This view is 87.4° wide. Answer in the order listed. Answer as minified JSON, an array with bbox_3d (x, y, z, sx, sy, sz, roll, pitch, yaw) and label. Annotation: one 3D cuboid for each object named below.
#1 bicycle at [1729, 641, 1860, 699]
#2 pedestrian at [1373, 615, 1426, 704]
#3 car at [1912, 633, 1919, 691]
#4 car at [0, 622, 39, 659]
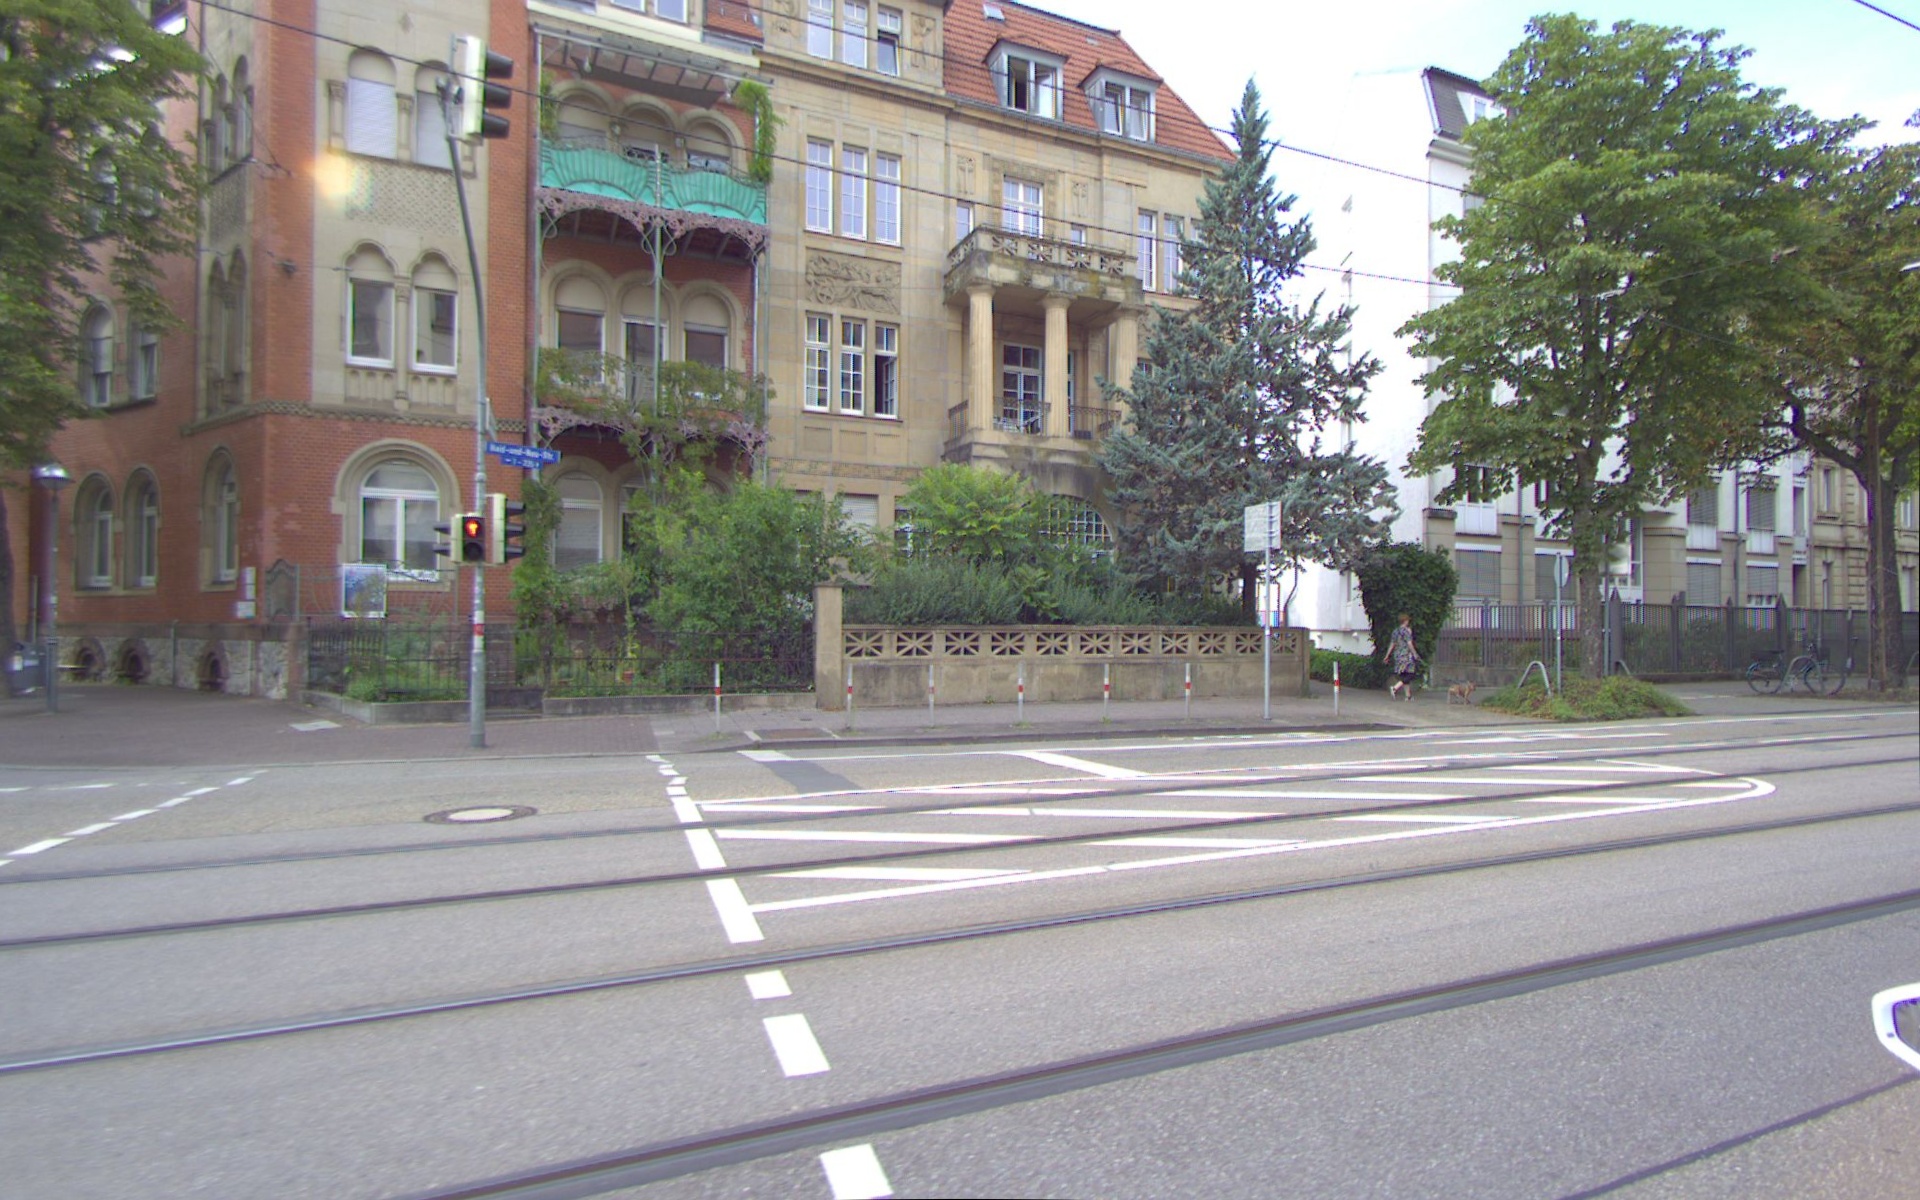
[{"bbox_3d":[18.926,1.567,22.851,2.198,1.191,0.833,0,-1,33],"label":"bicycle"},{"bbox_3d":[8.853,1.181,20.233,0.692,1.758,0.702,1,0,-29],"label":"pedestrian"},{"bbox_3d":[26.236,1.607,25.333,4.106,1.444,1.716,1,1,-23],"label":"car"},{"bbox_3d":[-38.015,1.561,38.534,1.670,1.423,4.001,0,-2,0],"label":"car"}]
